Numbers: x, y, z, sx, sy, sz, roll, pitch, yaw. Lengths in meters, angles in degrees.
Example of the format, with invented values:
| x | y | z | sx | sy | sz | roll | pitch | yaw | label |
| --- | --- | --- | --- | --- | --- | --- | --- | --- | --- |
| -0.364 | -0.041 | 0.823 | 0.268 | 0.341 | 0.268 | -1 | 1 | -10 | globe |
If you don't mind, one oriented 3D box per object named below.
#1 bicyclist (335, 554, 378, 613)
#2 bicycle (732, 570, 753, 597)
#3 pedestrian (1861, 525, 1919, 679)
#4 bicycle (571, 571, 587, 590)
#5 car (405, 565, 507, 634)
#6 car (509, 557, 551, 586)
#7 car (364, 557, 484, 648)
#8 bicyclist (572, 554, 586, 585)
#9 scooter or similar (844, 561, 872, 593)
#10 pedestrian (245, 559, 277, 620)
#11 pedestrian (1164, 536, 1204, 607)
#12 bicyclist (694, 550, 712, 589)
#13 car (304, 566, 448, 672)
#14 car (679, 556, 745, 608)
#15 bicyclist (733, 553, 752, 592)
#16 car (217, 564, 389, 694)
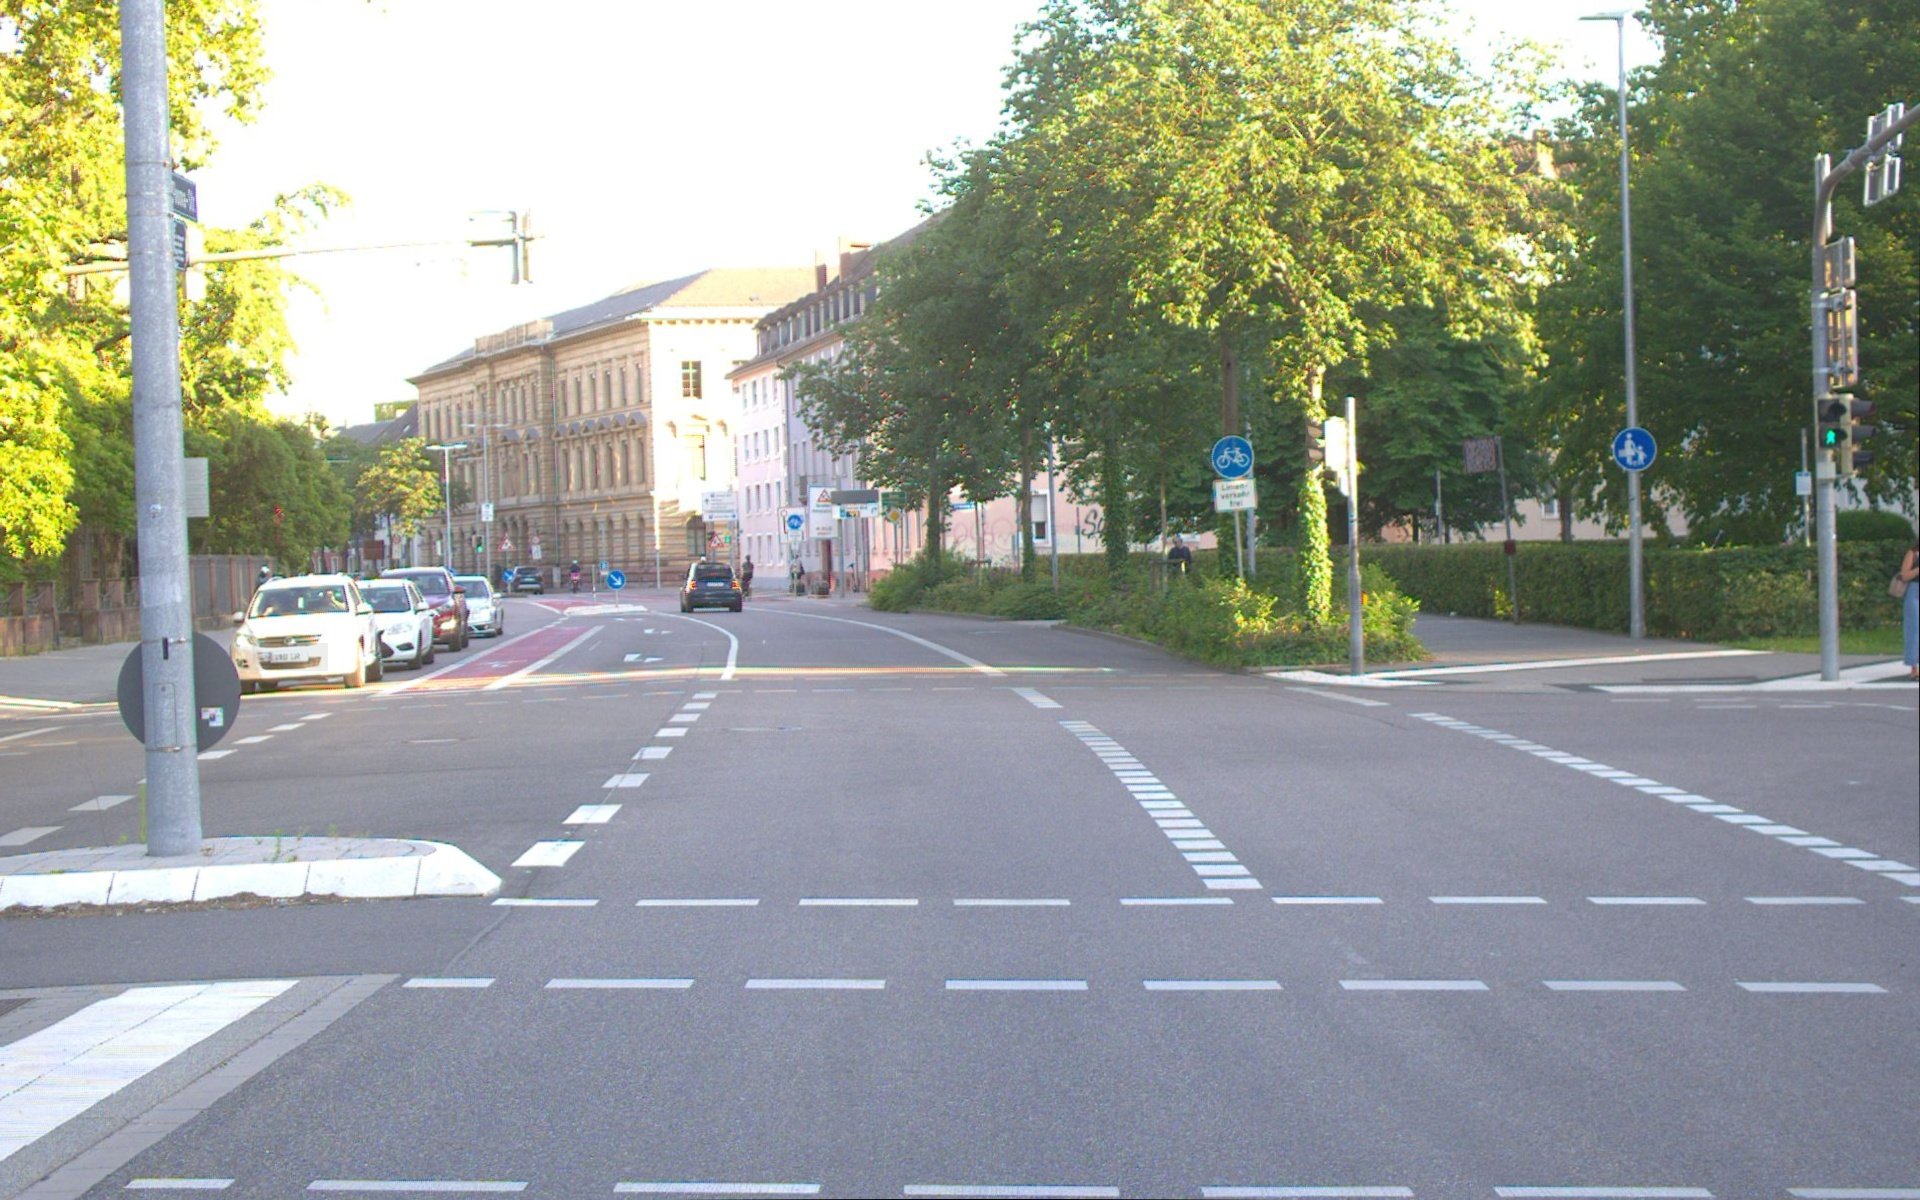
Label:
| x | y | z | sx | sy | sz | roll | pitch | yaw | label |
| --- | --- | --- | --- | --- | --- | --- | --- | --- | --- |
| -14.857 | -0.418 | 84.642 | 0.855 | 1.426 | 0.943 | -1 | 1 | 0 | bicyclist |
| -8.251 | -0.627 | 130.497 | 0.652 | 1.012 | 2.198 | 1 | 1 | -7 | bicycle |
| 10.140 | 0.008 | 36.887 | 0.681 | 1.616 | 0.845 | -2 | 1 | -1 | pedestrian |
| -21.167 | -1.074 | 190.920 | 0.652 | 1.012 | 2.198 | 1 | 1 | -12 | bicycle |
| -11.462 | -0.037 | 78.403 | 1.916 | 1.413 | 4.771 | -3 | 1 | -5 | car |
| -23.416 | -1.551 | 187.306 | 1.916 | 1.413 | 4.771 | -4 | 1 | -10 | car |
| -10.539 | 0.014 | 67.849 | 1.916 | 1.619 | 4.640 | -3 | 1 | -5 | car |
| -21.152 | -1.683 | 190.882 | 0.652 | 1.692 | 0.957 | 1 | 0 | -12 | bicyclist |
| -4.313 | -0.989 | 145.350 | 0.629 | 1.332 | 2.401 | -1 | 1 | -14 | scooter or similar |
| -18.814 | -0.293 | 92.589 | 0.681 | 1.617 | 0.688 | -2 | 1 | -1 | pedestrian |
| 5.511 | -0.707 | 84.643 | 0.769 | 1.733 | 0.807 | -2 | 1 | -10 | pedestrian |
| -9.756 | -1.160 | 130.528 | 0.652 | 1.441 | 0.879 | 1 | 0 | -7 | bicyclist |
| -9.795 | 0.285 | 57.968 | 1.916 | 1.578 | 4.675 | -3 | 1 | -5 | car |
| -7.467 | -0.548 | 103.891 | 1.867 | 1.505 | 4.000 | -1 | 0 | -3 | car |
| -8.242 | -1.036 | 130.458 | 0.652 | 1.470 | 0.941 | 1 | 0 | -7 | bicyclist |
| -9.568 | 0.378 | 50.358 | 1.916 | 1.690 | 4.427 | -3 | 1 | -5 | car |
